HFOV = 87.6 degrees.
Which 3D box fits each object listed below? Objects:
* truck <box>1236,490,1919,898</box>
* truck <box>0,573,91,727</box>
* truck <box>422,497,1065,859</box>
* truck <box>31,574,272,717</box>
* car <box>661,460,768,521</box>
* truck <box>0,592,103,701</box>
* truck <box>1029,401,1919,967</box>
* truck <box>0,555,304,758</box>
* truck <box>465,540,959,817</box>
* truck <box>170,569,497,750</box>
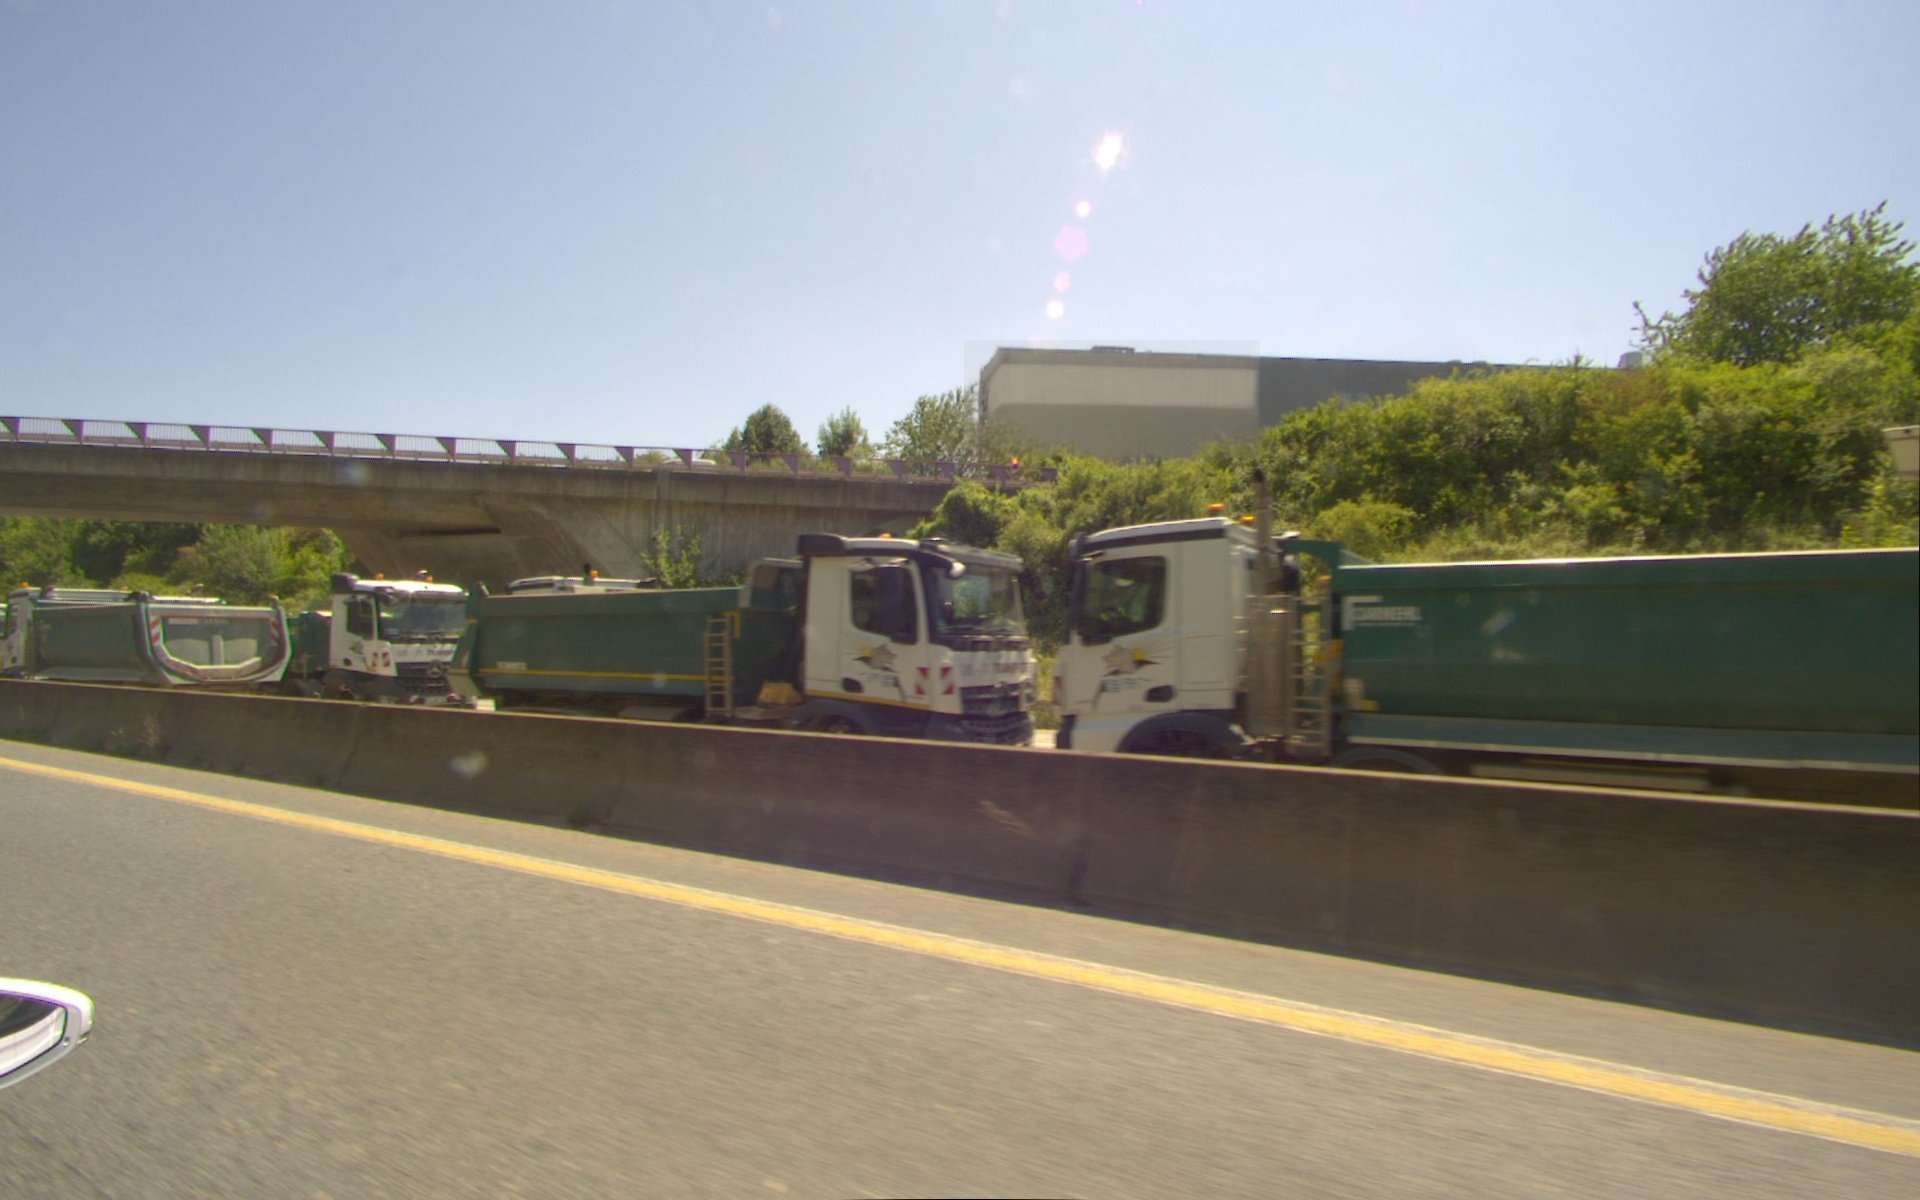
[{"bbox_3d":[7.862,0.845,10.095,9.462,3.421,2.684,-1,-2,31],"label":"truck"},{"bbox_3d":[-28.016,1.353,28.246,9.190,3.905,2.683,-1,-2,32],"label":"truck"},{"bbox_3d":[-3.320,0.880,13.518,9.190,3.602,2.683,-1,-2,32],"label":"truck"},{"bbox_3d":[-24.448,1.318,30.101,9.190,3.774,2.683,-1,-2,32],"label":"truck"},{"bbox_3d":[-11.839,-5.246,48.528,4.687,2.571,2.261,0,-2,-4],"label":"car"},{"bbox_3d":[-34.808,1.637,36.519,9.190,3.602,2.683,-1,-2,32],"label":"truck"},{"bbox_3d":[5.275,0.601,8.485,9.190,3.602,2.683,-1,-2,32],"label":"truck"},{"bbox_3d":[-18.459,1.174,22.404,9.190,3.808,2.683,-1,-2,32],"label":"truck"},{"bbox_3d":[-4.610,1.186,17.371,9.190,3.808,2.683,-1,-2,32],"label":"truck"},{"bbox_3d":[-14.883,1.294,23.479,9.190,3.602,2.683,-1,-2,32],"label":"truck"}]
